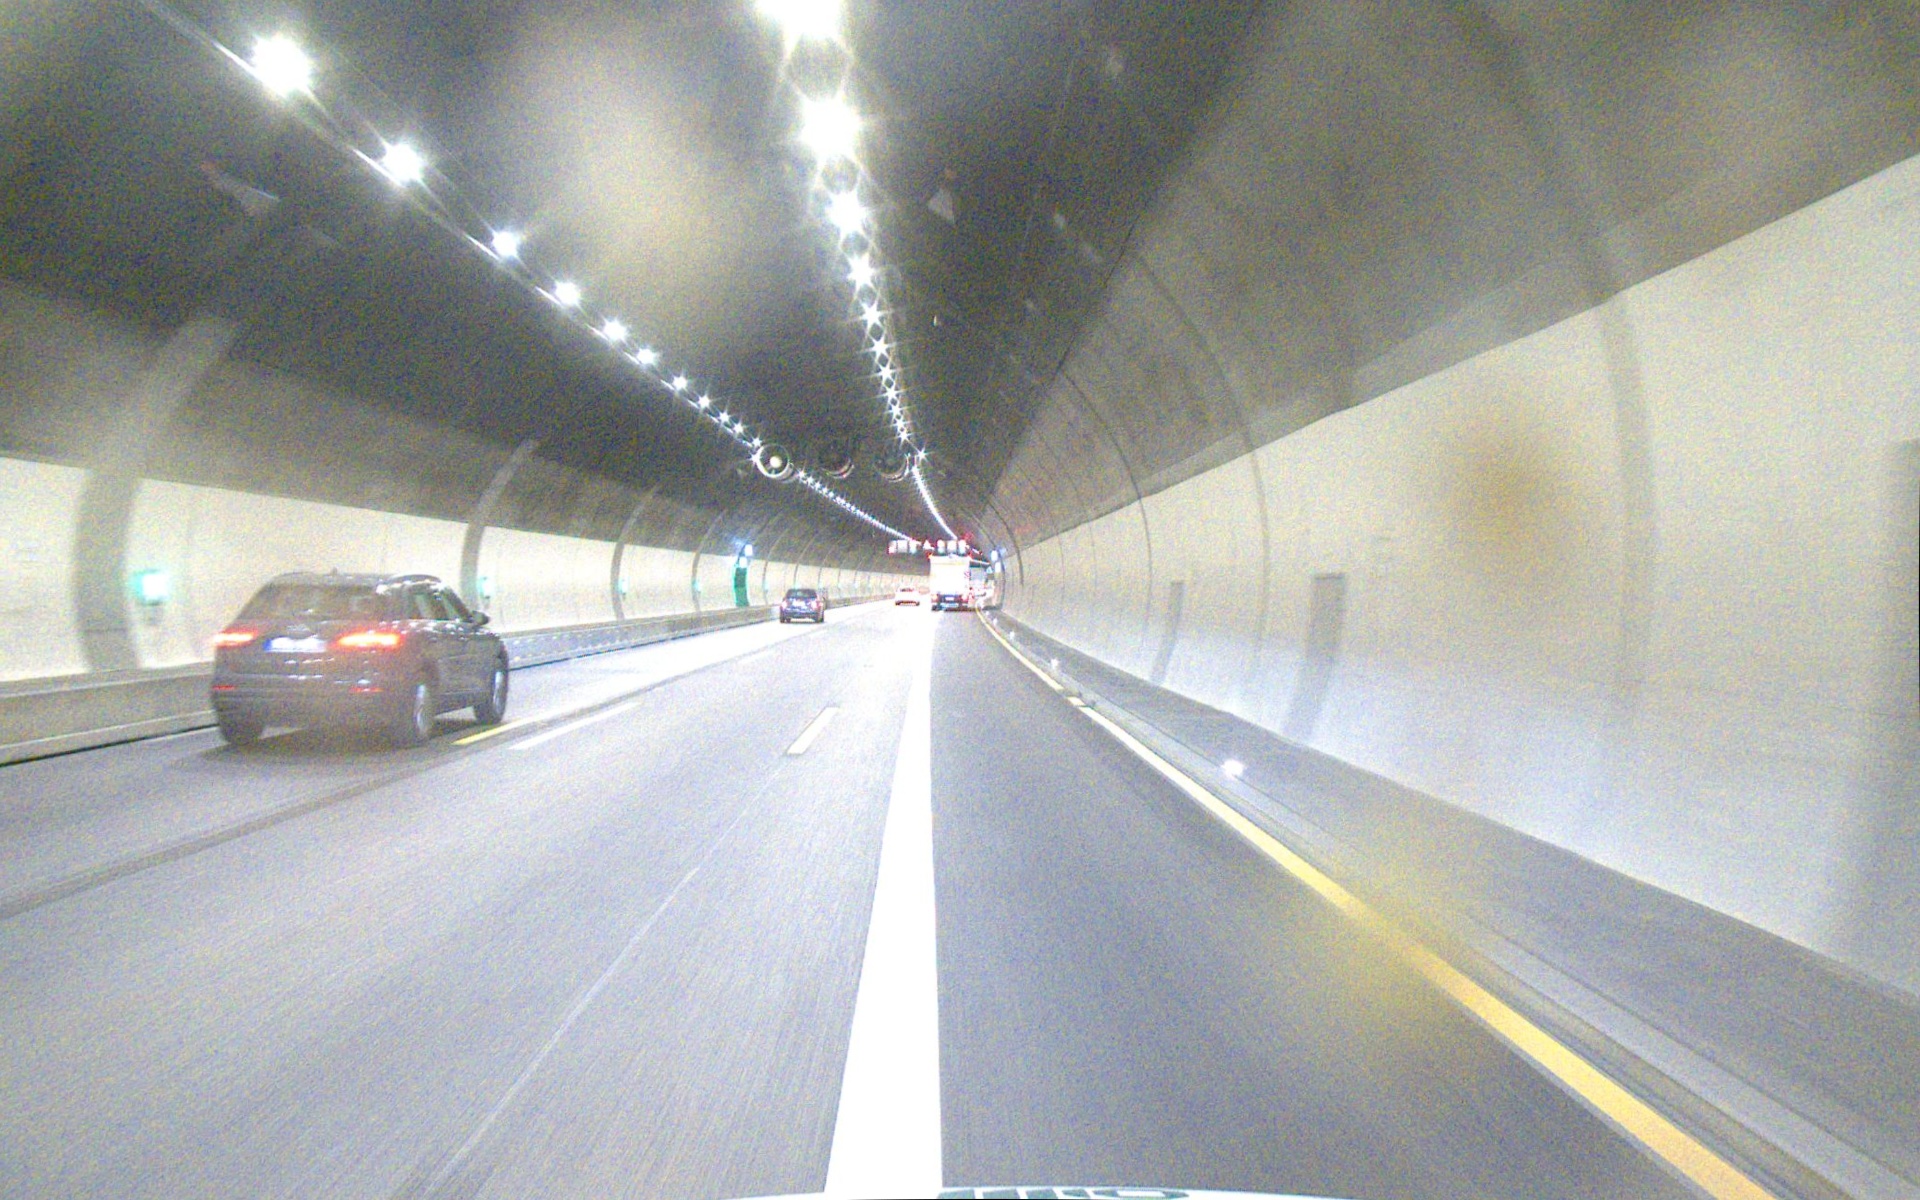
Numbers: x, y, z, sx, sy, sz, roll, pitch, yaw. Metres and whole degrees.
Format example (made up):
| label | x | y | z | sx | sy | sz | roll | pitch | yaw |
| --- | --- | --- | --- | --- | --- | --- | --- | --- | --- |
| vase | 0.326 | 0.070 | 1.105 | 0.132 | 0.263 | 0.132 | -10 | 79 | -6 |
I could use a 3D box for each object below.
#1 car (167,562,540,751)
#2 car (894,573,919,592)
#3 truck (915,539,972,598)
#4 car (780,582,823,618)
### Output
| label | x | y | z | sx | sy | sz | roll | pitch | yaw |
| --- | --- | --- | --- | --- | --- | --- | --- | --- | --- |
| car | -5.688 | 0.458 | 16.244 | 1.953 | 1.567 | 4.742 | 1 | 0 | -1 |
| car | -4.126 | -1.342 | 128.009 | 1.953 | 1.437 | 4.741 | 0 | 1 | -2 |
| truck | -1.129 | -2.054 | 109.079 | 3.519 | 3.714 | 10.720 | 0 | 1 | -1 |
| car | -6.637 | -0.028 | 69.568 | 1.655 | 1.442 | 3.920 | 1 | 1 | -4 |
